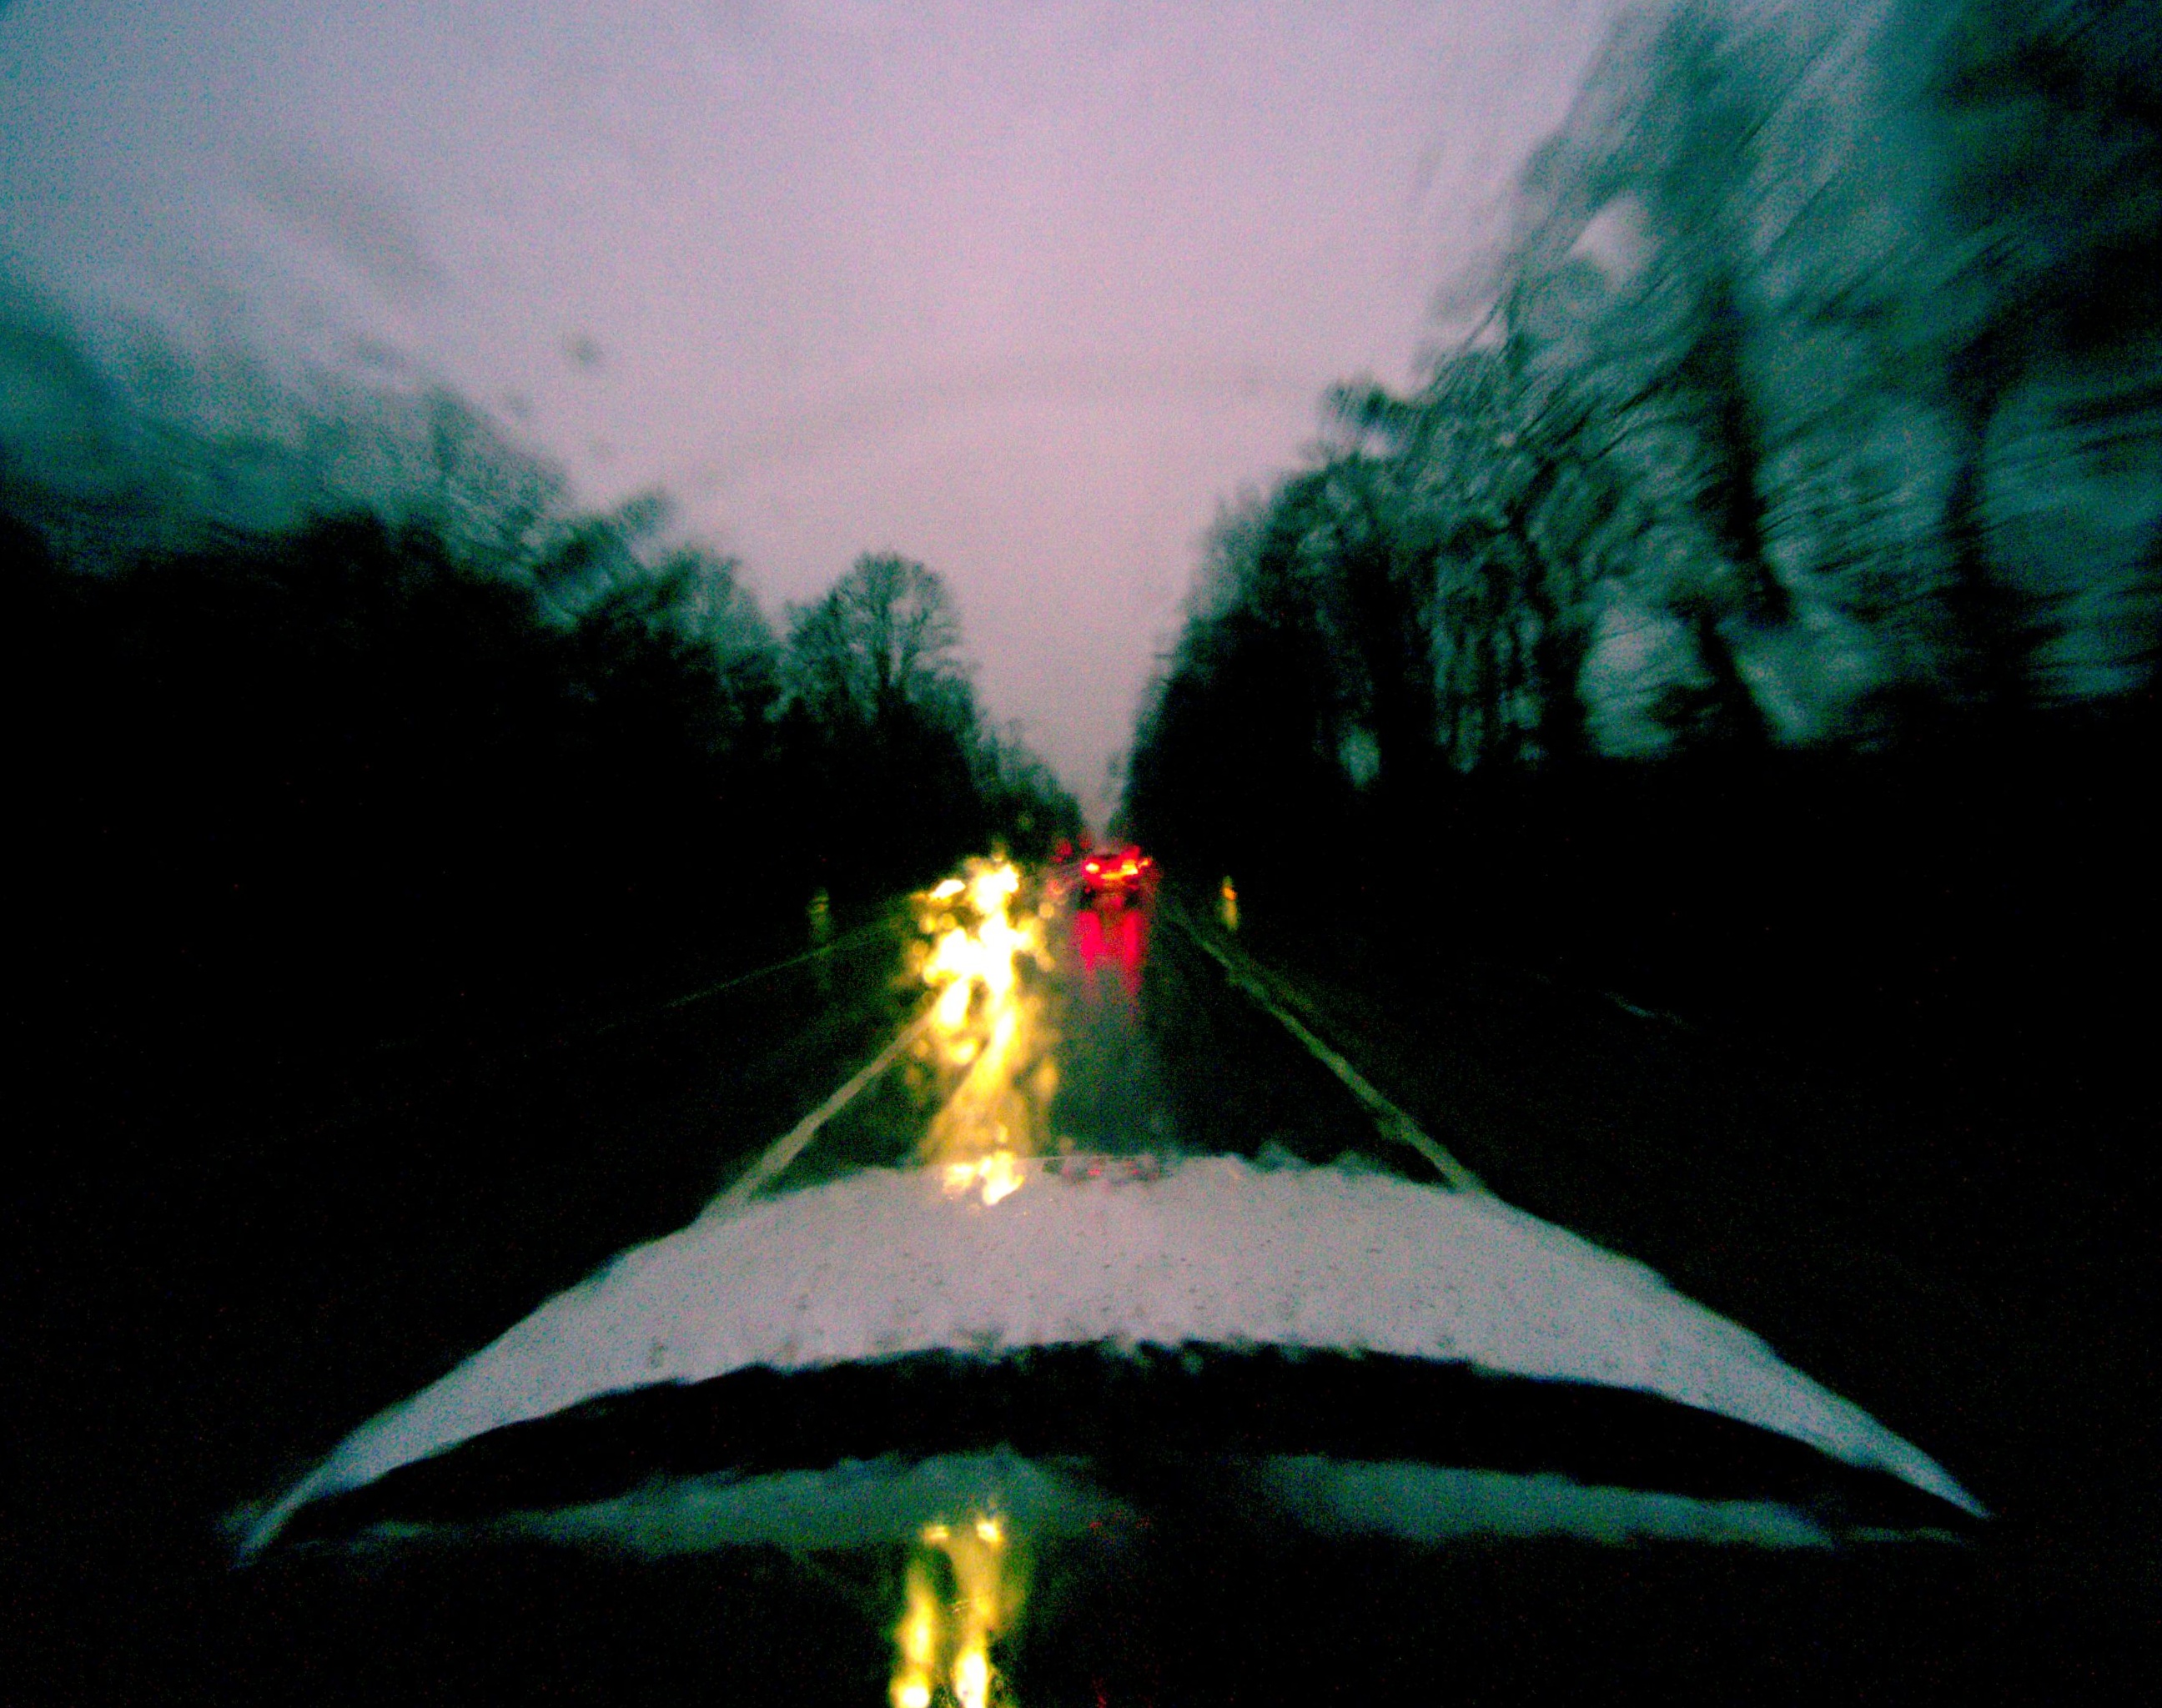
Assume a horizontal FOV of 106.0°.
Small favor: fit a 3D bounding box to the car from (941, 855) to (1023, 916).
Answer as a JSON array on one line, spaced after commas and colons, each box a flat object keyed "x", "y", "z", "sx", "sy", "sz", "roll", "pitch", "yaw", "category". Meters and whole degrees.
[{"x": -2.729, "y": 0.828, "z": 23.246, "sx": 1.592, "sy": 1.496, "sz": 3.897, "roll": -3, "pitch": 0, "yaw": 2, "category": "car"}]

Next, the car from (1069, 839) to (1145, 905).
[{"x": 0.807, "y": 0.511, "z": 26.003, "sx": 2.190, "sy": 1.877, "sz": 4.828, "roll": -1, "pitch": 0, "yaw": 1, "category": "car"}]
